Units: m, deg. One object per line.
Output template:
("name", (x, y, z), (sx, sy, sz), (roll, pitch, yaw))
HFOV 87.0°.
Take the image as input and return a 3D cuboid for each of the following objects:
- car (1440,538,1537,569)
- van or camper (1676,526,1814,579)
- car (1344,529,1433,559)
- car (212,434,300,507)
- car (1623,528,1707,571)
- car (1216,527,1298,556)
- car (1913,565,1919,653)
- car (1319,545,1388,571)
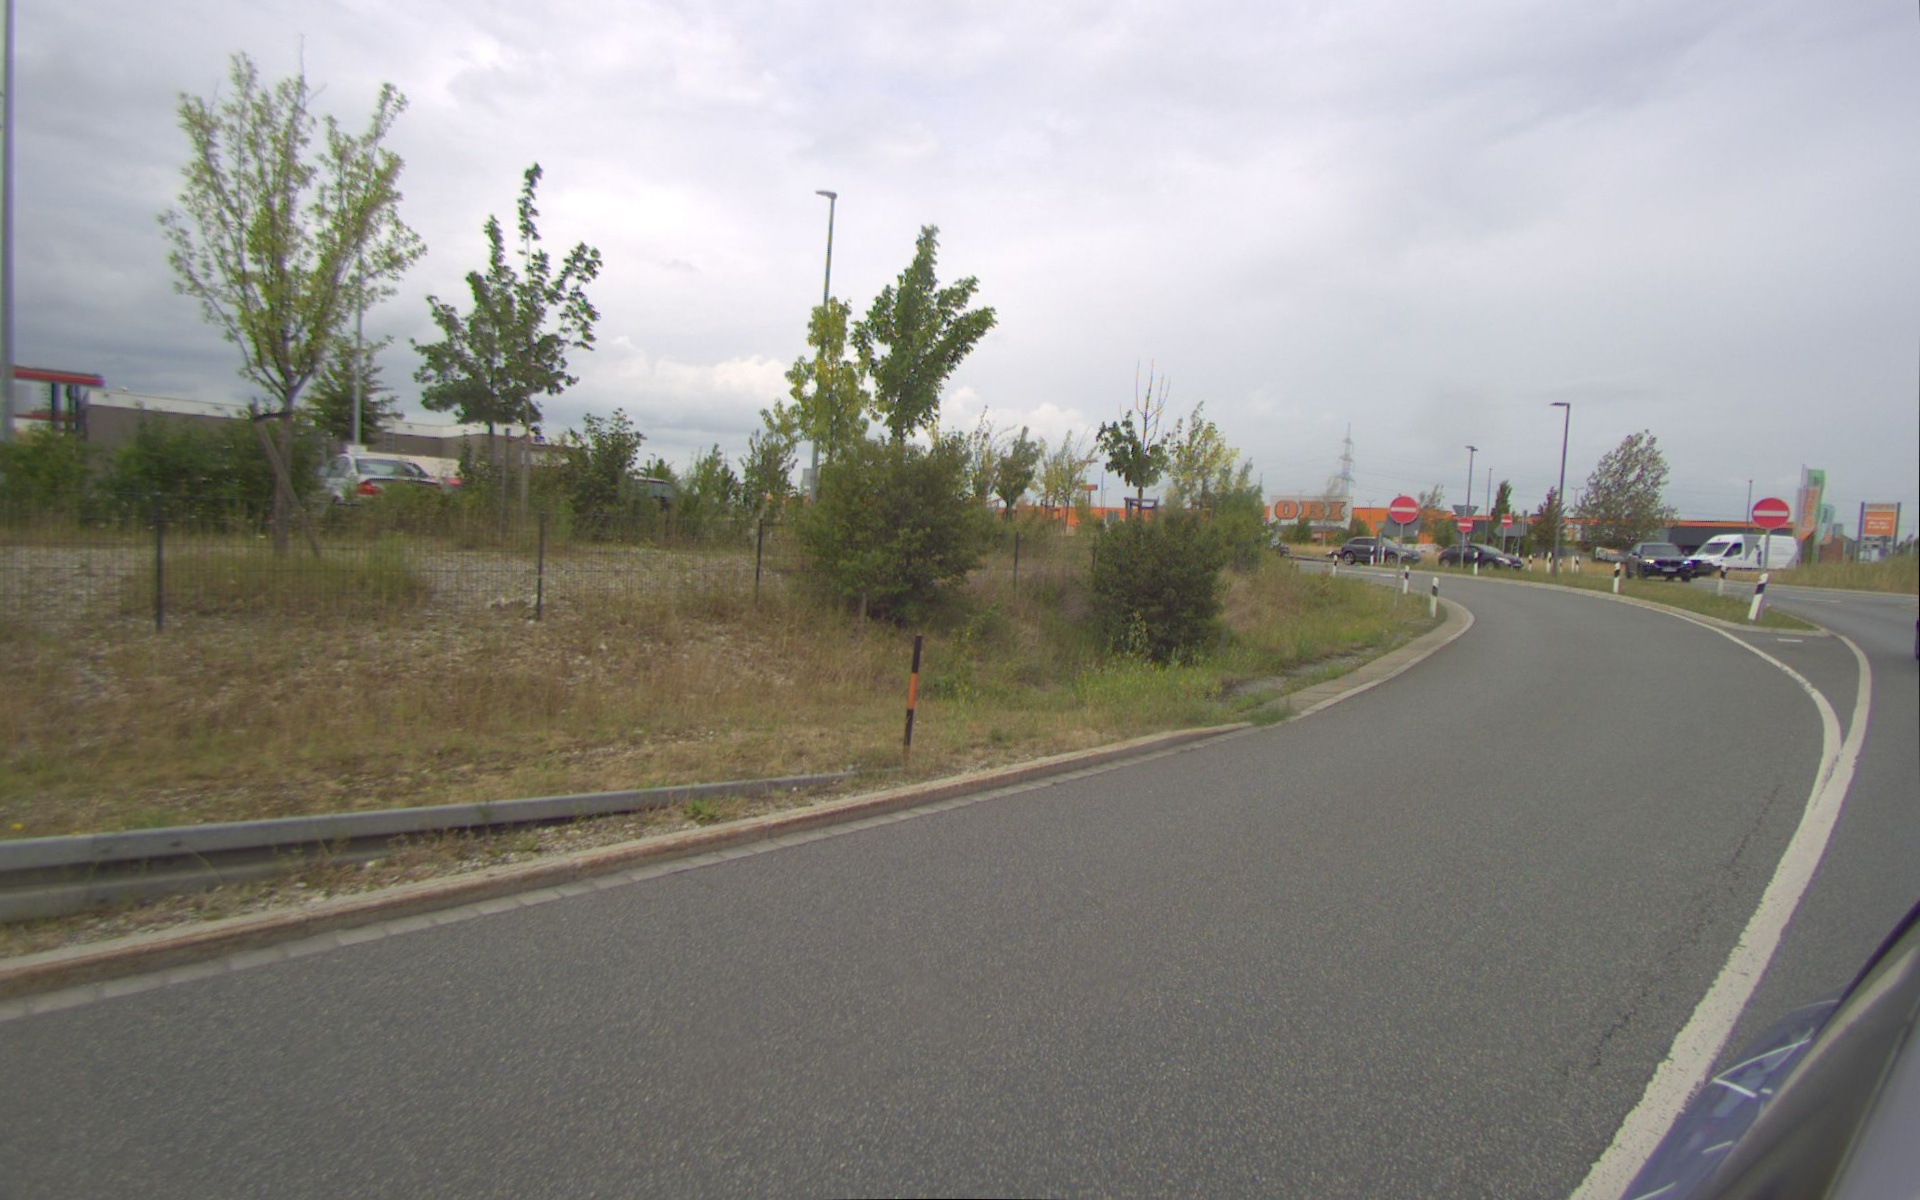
("car", (26.536, -2.355, 50.950), (1.805, 1.386, 4.157), (0, 4, -20))
("van or camper", (43.160, -2.602, 55.691), (5.922, 2.682, 2.339), (1, 3, -7))
("car", (24.464, -3.209, 57.926), (1.850, 1.601, 4.276), (-1, 5, -37))
("car", (-19.407, -3.510, 27.838), (1.747, 1.741, 4.062), (0, 5, -38))
("car", (30.953, -2.203, 44.559), (1.818, 1.741, 3.980), (1, 1, 16))
("car", (18.861, -3.744, 64.445), (1.693, 1.741, 4.738), (-2, 5, -42))
("car", (16.463, 0.233, 15.761), (1.897, 1.515, 4.281), (2, 3, 38))
("car", (27.018, -2.876, 69.525), (3.985, 1.678, 1.970), (4, 3, 42))
